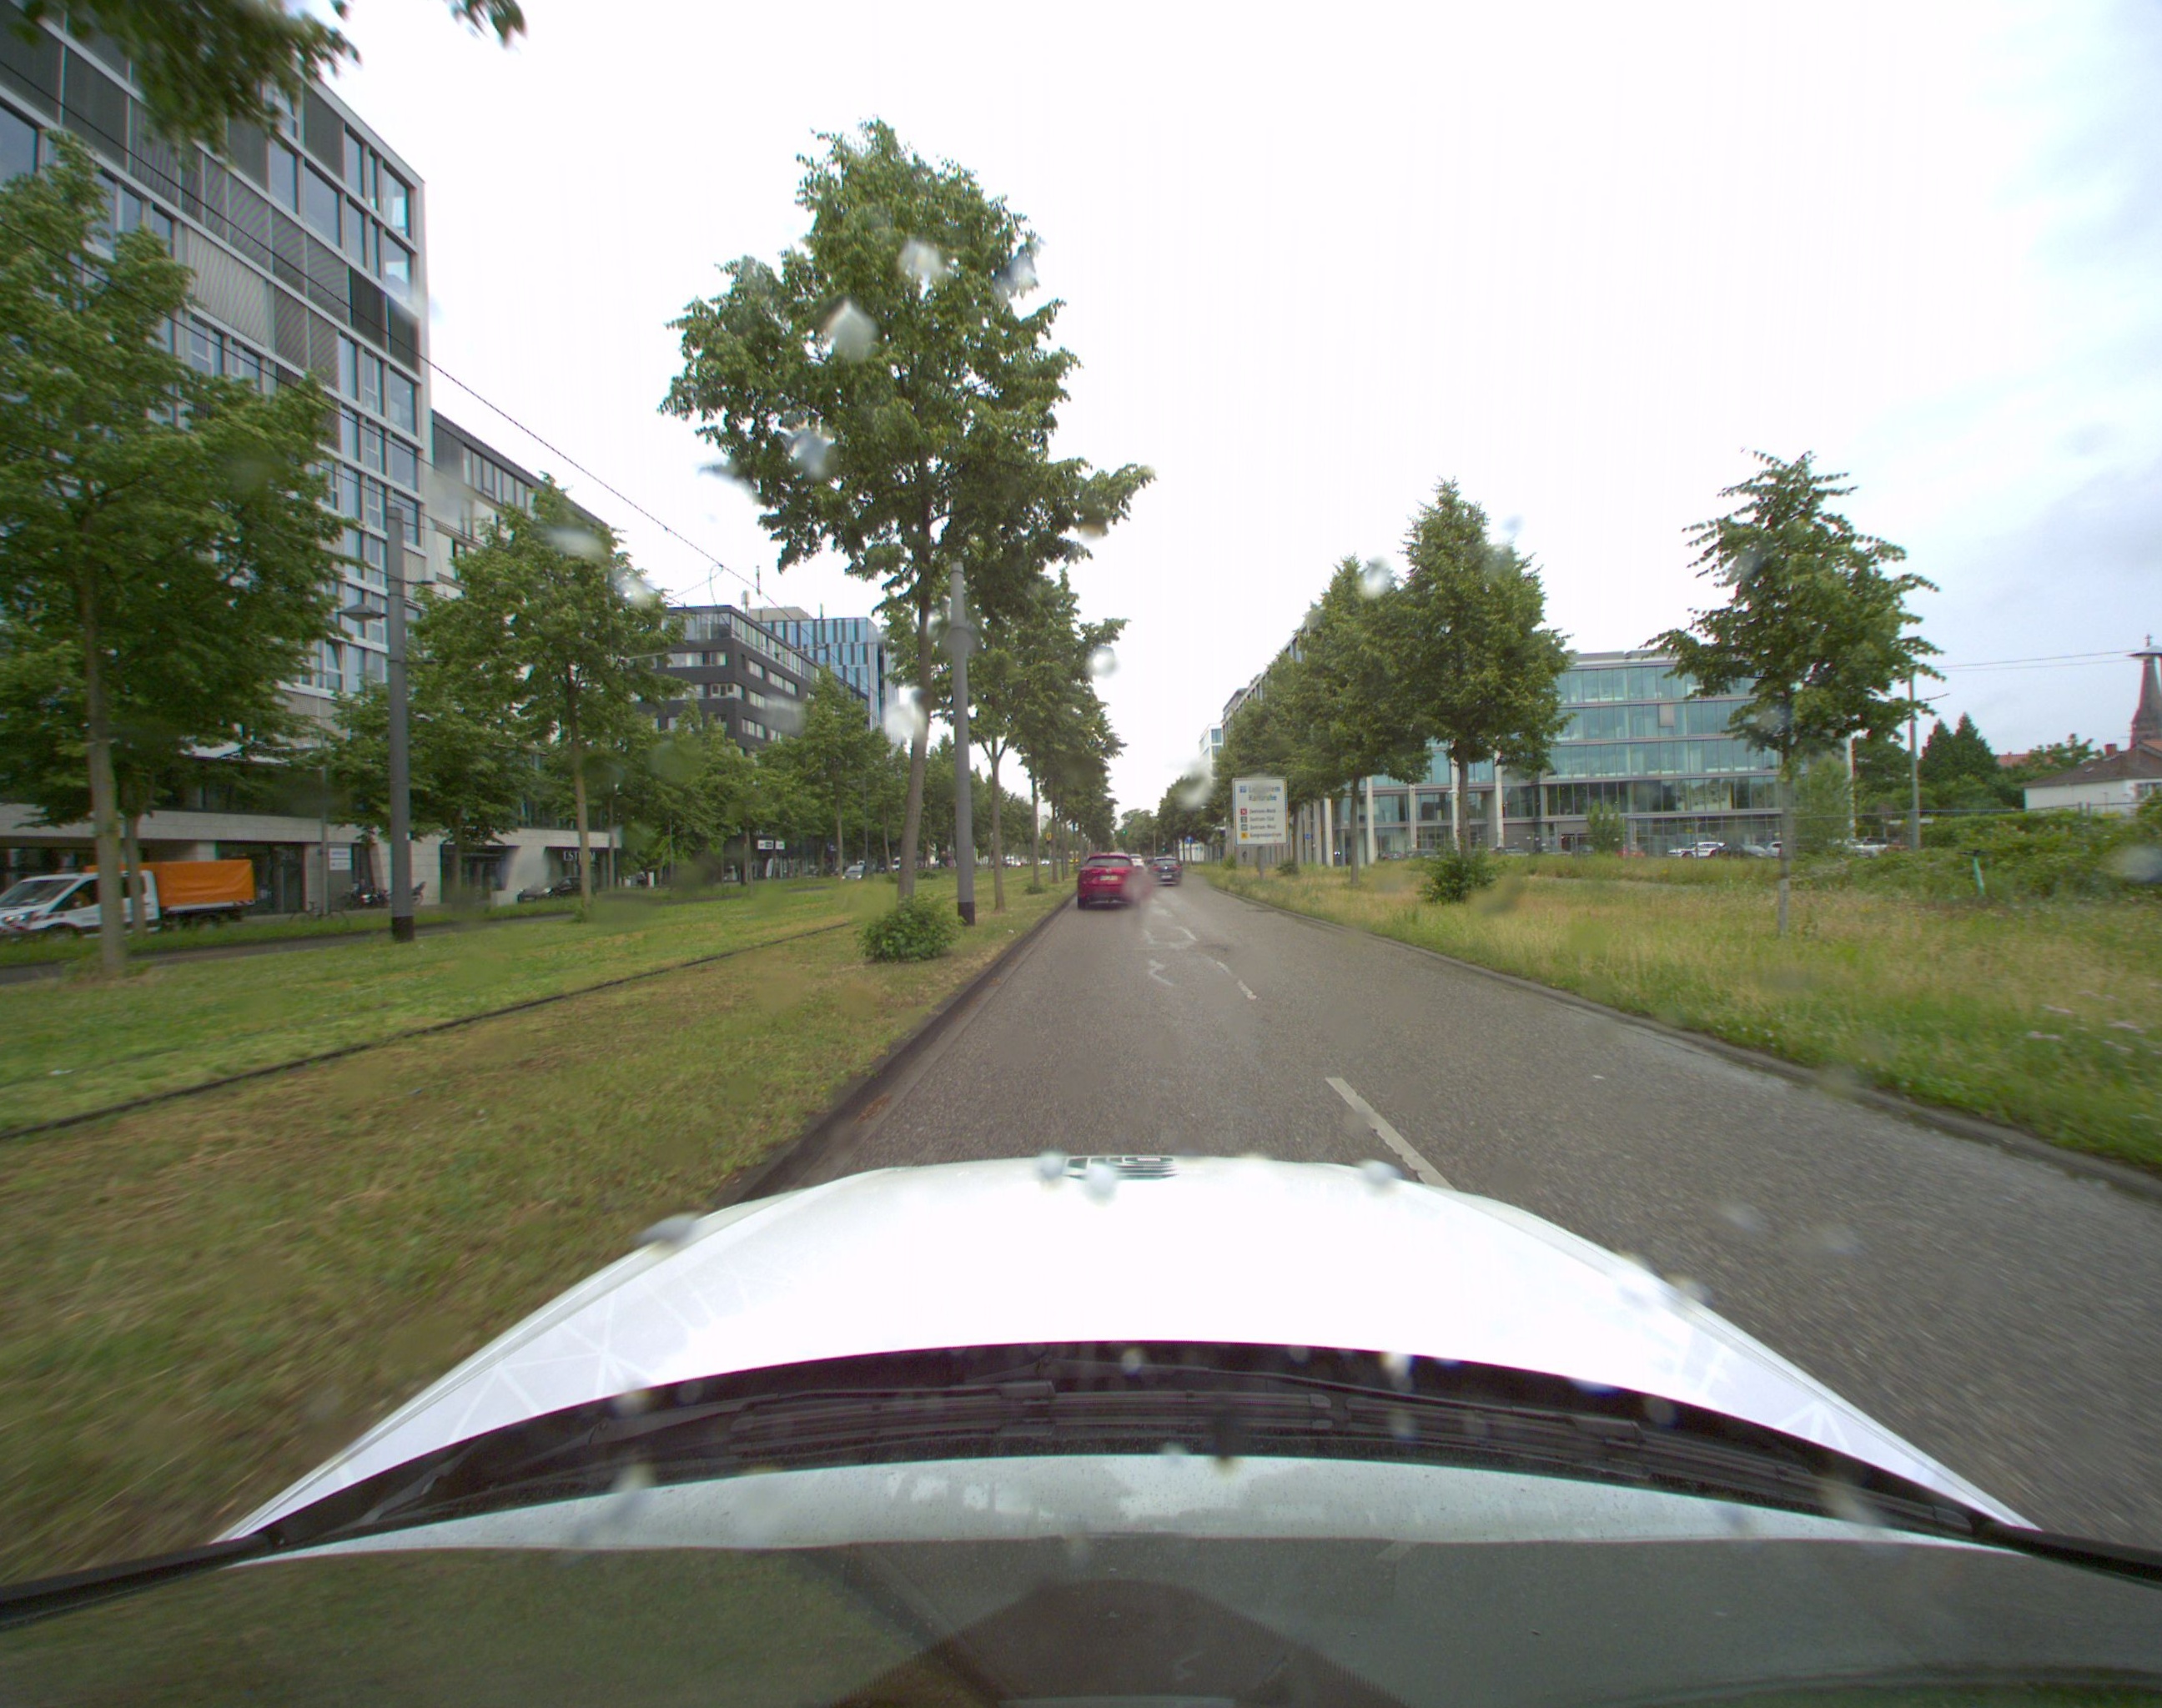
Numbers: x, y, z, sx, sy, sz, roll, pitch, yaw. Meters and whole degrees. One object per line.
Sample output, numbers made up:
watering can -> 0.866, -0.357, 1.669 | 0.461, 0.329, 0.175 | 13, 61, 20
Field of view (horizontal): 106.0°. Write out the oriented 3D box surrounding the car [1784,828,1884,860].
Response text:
car -> 40.741, -0.507, 44.199 | 1.845, 1.601, 4.242 | -2, 0, 7

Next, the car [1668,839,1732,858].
car -> 52.916, -0.482, 69.625 | 3.965, 1.438, 1.865 | -2, 1, 7

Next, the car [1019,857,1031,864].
car -> -11.841, 1.385, 172.253 | 1.855, 1.524, 4.482 | -2, 0, 3

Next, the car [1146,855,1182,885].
car -> 4.324, 0.792, 42.045 | 1.734, 1.465, 3.789 | -1, 0, 7

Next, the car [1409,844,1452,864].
car -> 26.994, 0.025, 63.060 | 1.845, 1.455, 4.567 | -1, 0, 7

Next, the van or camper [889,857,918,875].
van or camper -> -23.940, 1.593, 110.032 | 2.423, 2.315, 5.853 | -1, 0, 2

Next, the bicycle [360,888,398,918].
bicycle -> -35.930, 2.484, 41.673 | 1.427, 1.482, 0.546 | -1, 0, 1

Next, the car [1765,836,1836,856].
car -> 52.113, -0.554, 59.092 | 1.690, 1.352, 4.033 | -1, 0, 1

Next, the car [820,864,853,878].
car -> -24.957, 1.709, 83.227 | 1.986, 1.378, 4.002 | -1, 0, 2

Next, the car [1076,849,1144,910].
car -> 0.876, 0.723, 24.994 | 1.891, 1.677, 4.001 | -1, 0, 2

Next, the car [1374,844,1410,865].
car -> 24.258, 0.032, 63.689 | 1.844, 1.581, 4.011 | -1, 0, 9

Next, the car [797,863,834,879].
car -> -25.096, 1.617, 77.031 | 1.986, 1.378, 4.002 | -1, 0, 2

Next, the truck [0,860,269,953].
truck -> -27.994, 1.375, 23.601 | 2.417, 2.291, 6.312 | -2, 0, 2

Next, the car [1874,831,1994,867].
car -> 40.850, -0.226, 39.149 | 1.845, 1.601, 4.008 | -2, 0, 7

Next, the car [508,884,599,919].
car -> -26.455, 2.349, 41.019 | 1.848, 1.465, 3.990 | -2, 0, 2

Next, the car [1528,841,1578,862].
car -> 35.687, -0.203, 61.745 | 1.776, 1.475, 4.239 | -1, 0, 7

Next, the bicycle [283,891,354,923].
bicycle -> -25.505, 1.746, 27.275 | 0.596, 0.945, 1.760 | -2, 0, 6

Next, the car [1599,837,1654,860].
car -> 40.725, -0.393, 60.900 | 1.845, 1.601, 4.008 | -1, 0, 7

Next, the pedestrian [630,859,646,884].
pedestrian -> -35.279, 1.397, 64.871 | 0.791, 1.981, 0.856 | -1, 0, 1

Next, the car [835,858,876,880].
car -> -17.582, 1.149, 63.596 | 1.985, 1.656, 3.702 | -1, 0, 2

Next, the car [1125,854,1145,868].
car -> 5.706, 0.737, 86.225 | 1.960, 1.437, 4.553 | 0, 0, 1

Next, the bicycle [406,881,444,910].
bicycle -> -35.989, 2.266, 44.704 | 1.562, 1.538, 0.607 | -1, 0, 1

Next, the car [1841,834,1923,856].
car -> 52.642, -0.597, 53.656 | 1.687, 1.352, 4.039 | -1, 0, 6
